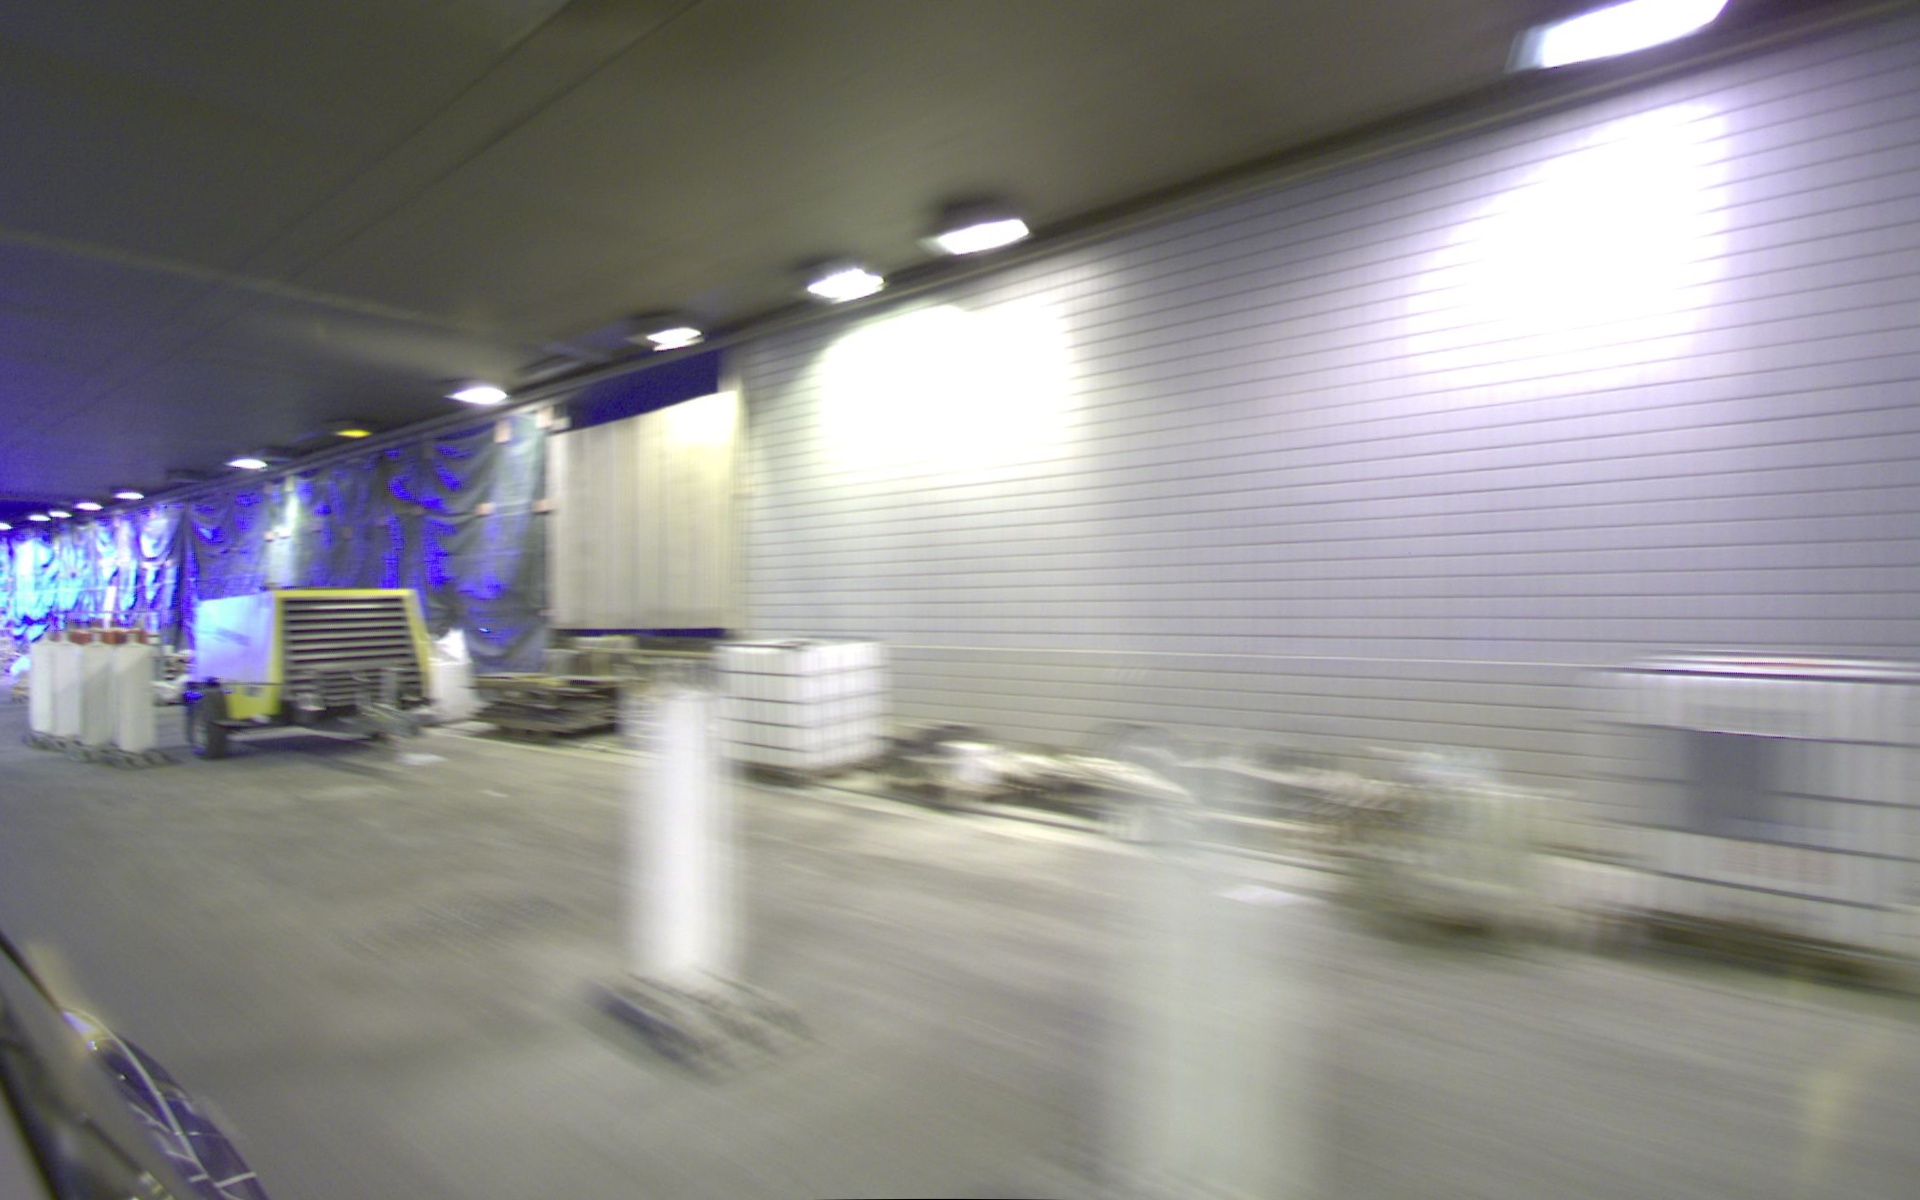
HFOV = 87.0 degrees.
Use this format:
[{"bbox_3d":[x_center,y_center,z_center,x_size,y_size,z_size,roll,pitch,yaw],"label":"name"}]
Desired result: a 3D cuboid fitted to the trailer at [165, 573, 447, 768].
[{"bbox_3d":[-7.137,0.660,10.979,3.118,1.804,1.624,-1,0,38],"label":"trailer"}]
